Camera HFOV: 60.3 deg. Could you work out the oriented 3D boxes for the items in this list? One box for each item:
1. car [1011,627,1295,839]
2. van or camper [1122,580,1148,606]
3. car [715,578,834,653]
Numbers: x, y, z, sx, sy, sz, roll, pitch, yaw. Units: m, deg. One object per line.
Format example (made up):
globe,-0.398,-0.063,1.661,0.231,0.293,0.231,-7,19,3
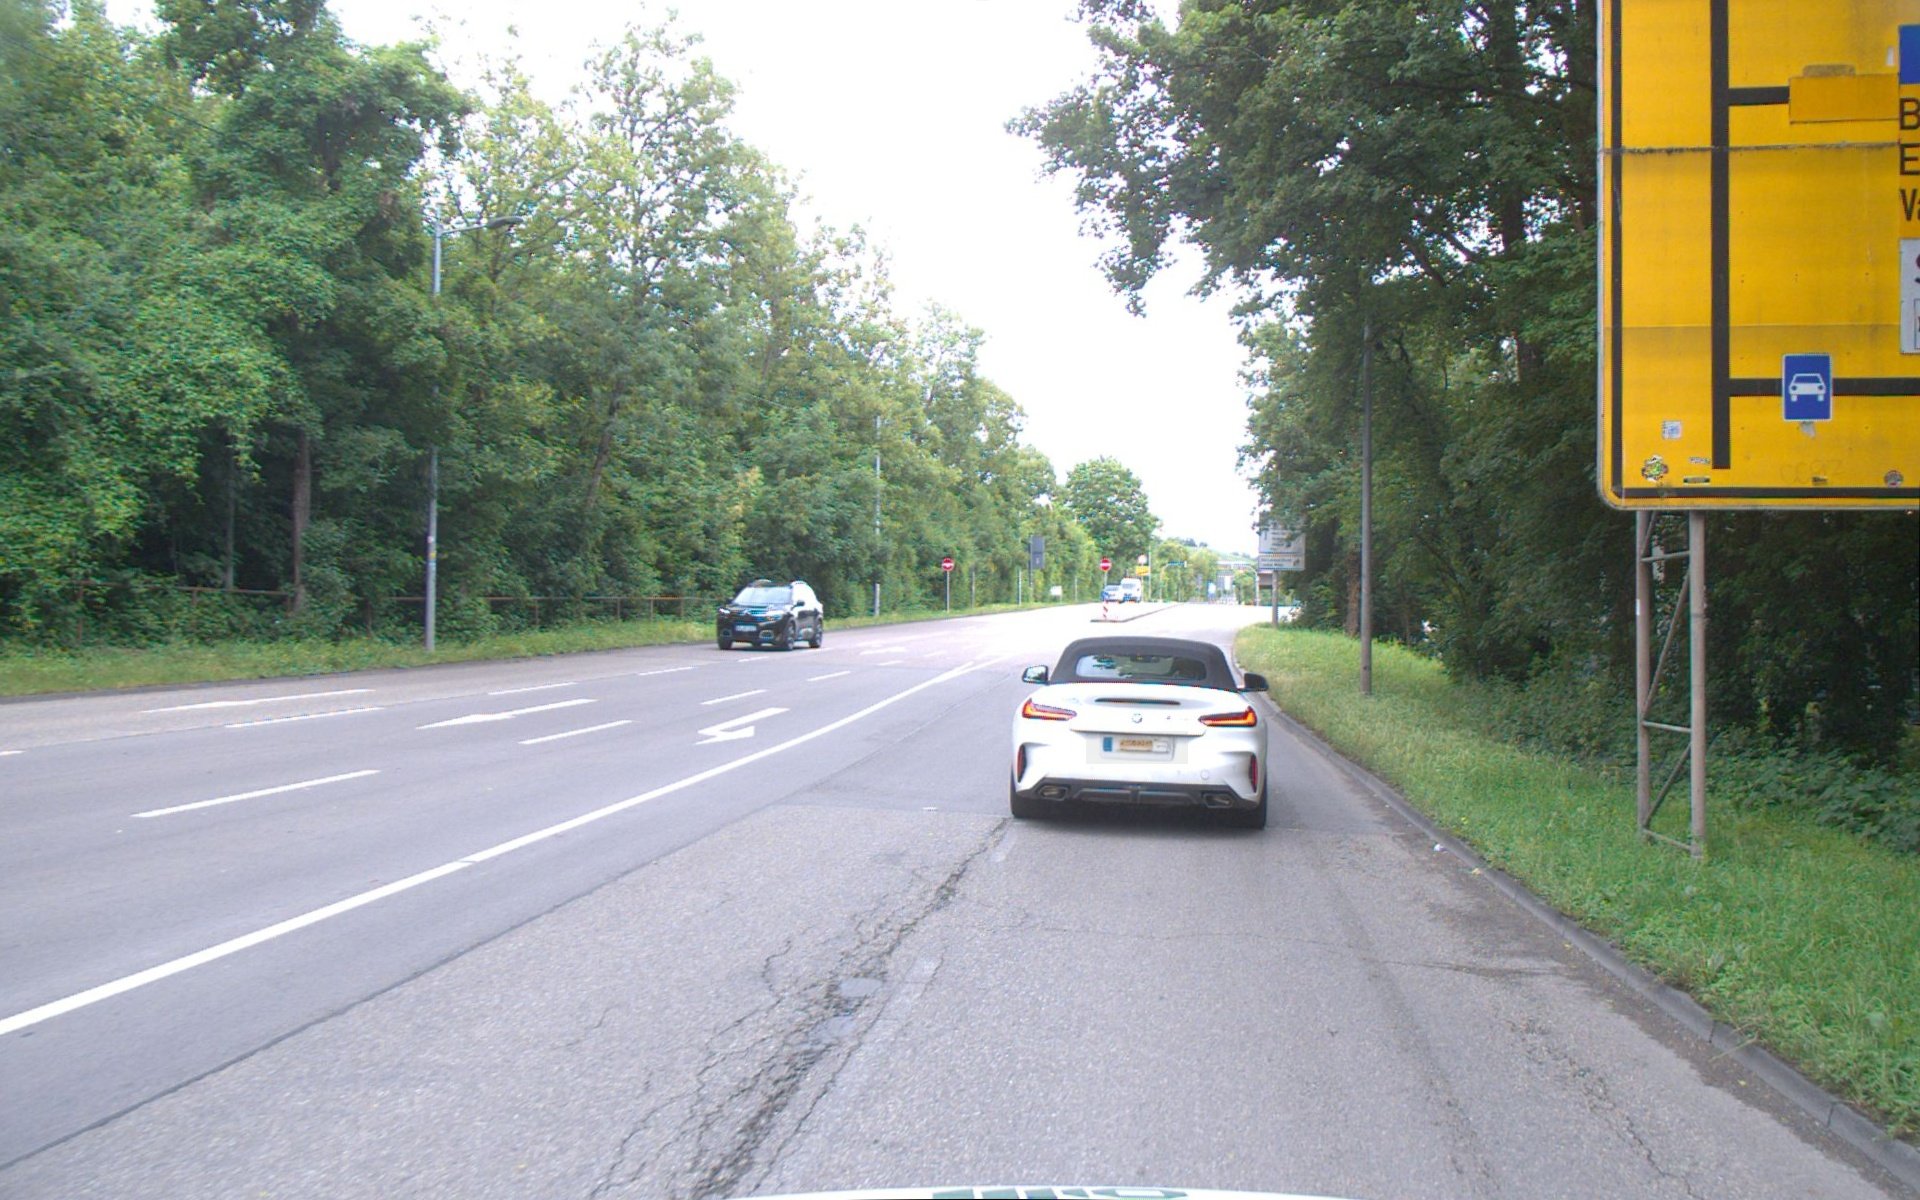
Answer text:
car,1.491,0.902,12.848,1.835,1.332,3.875,1,-1,7
van or camper,19.153,-0.705,180.553,2.234,2.599,6.865,3,0,10
car,-4.564,0.388,41.270,1.783,1.682,4.225,2,0,10
